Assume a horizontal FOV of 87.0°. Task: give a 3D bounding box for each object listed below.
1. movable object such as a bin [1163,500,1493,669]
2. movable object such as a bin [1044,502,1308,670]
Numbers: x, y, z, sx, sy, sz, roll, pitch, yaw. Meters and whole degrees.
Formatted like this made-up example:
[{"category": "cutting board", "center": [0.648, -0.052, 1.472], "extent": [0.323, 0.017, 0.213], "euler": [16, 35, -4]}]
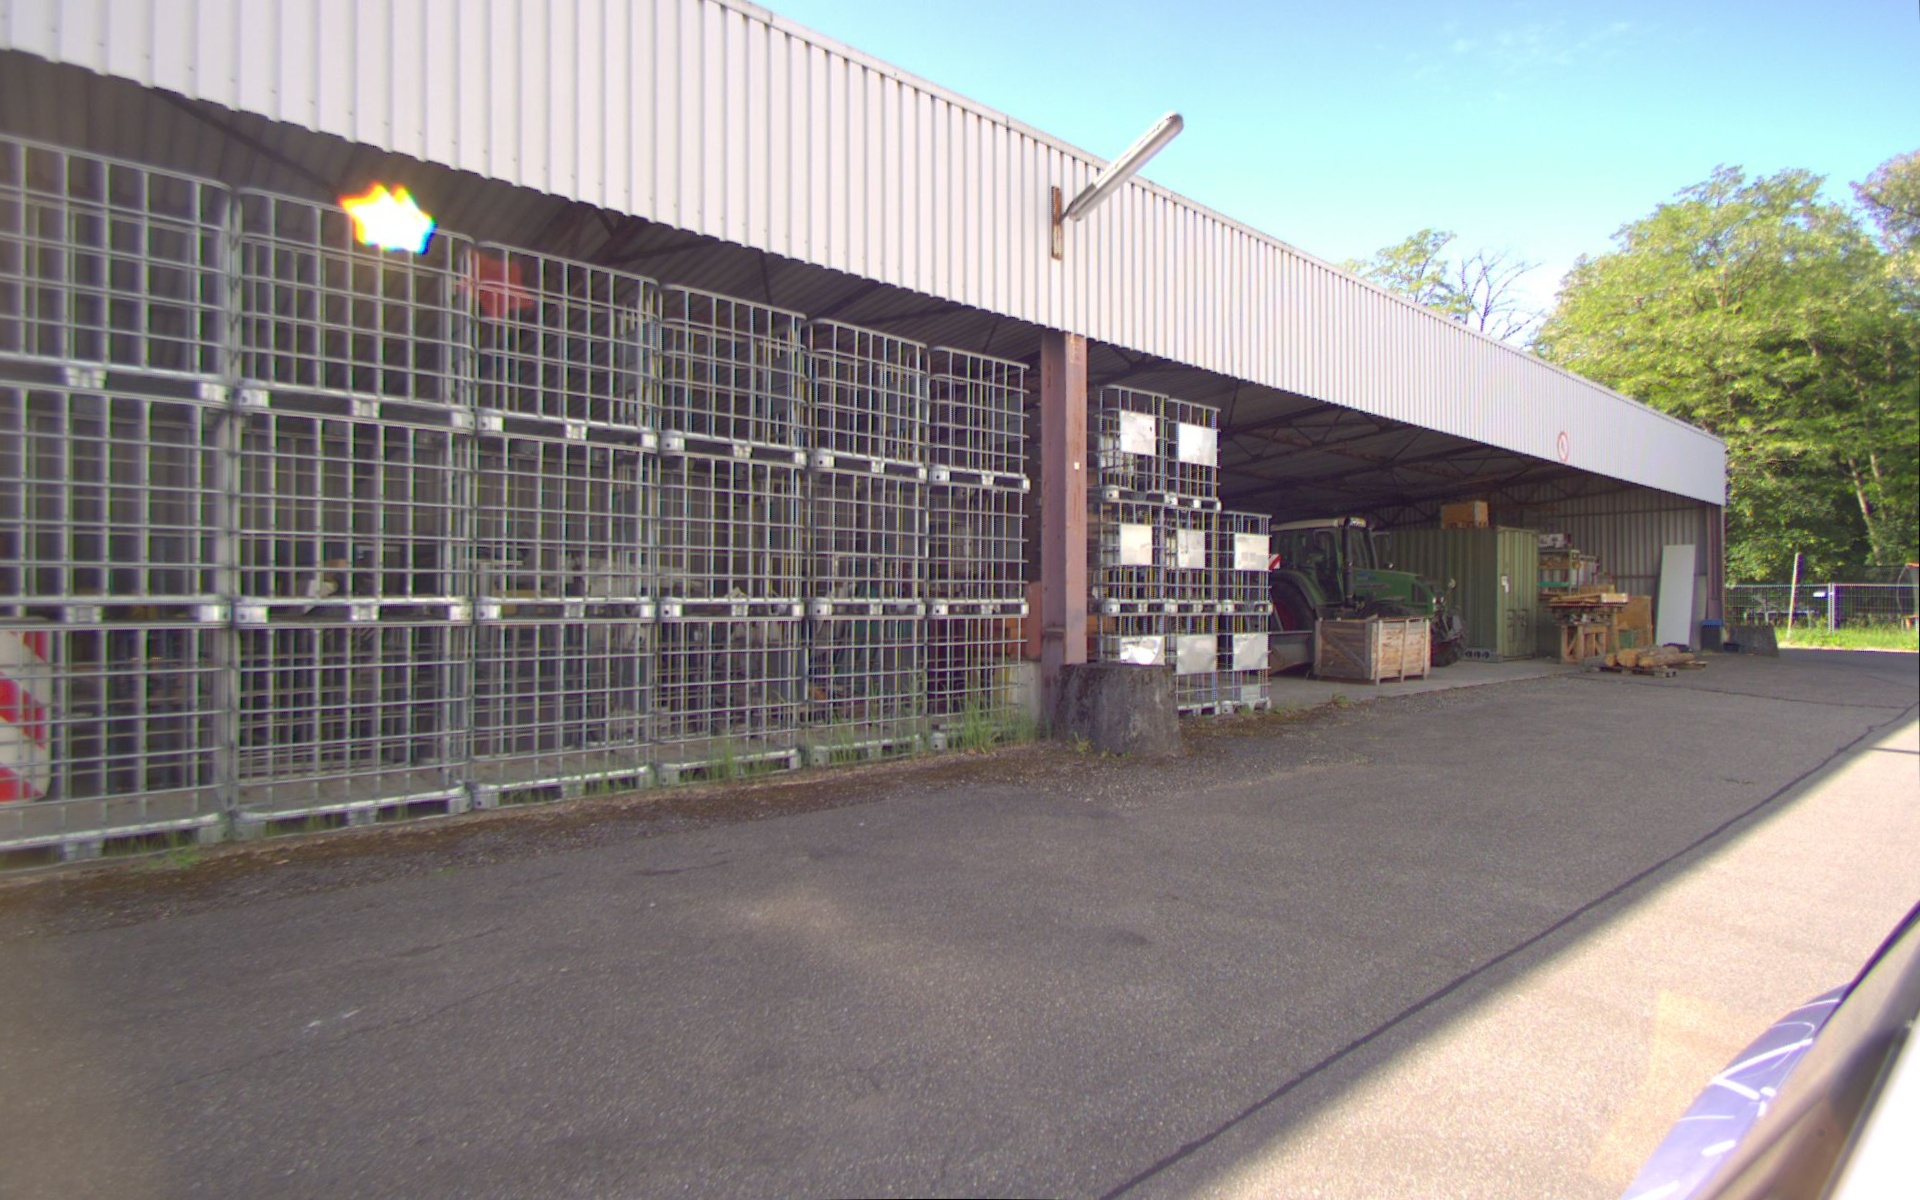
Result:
[{"category": "movable object such as a bin", "center": [7.386, -0.302, 20.931], "extent": [2.770, 2.962, 5.845], "euler": [0, 0, -40]}, {"category": "movable object such as a bin", "center": [4.105, -0.259, 19.825], "extent": [2.453, 2.866, 4.535], "euler": [1, 0, -40]}]
